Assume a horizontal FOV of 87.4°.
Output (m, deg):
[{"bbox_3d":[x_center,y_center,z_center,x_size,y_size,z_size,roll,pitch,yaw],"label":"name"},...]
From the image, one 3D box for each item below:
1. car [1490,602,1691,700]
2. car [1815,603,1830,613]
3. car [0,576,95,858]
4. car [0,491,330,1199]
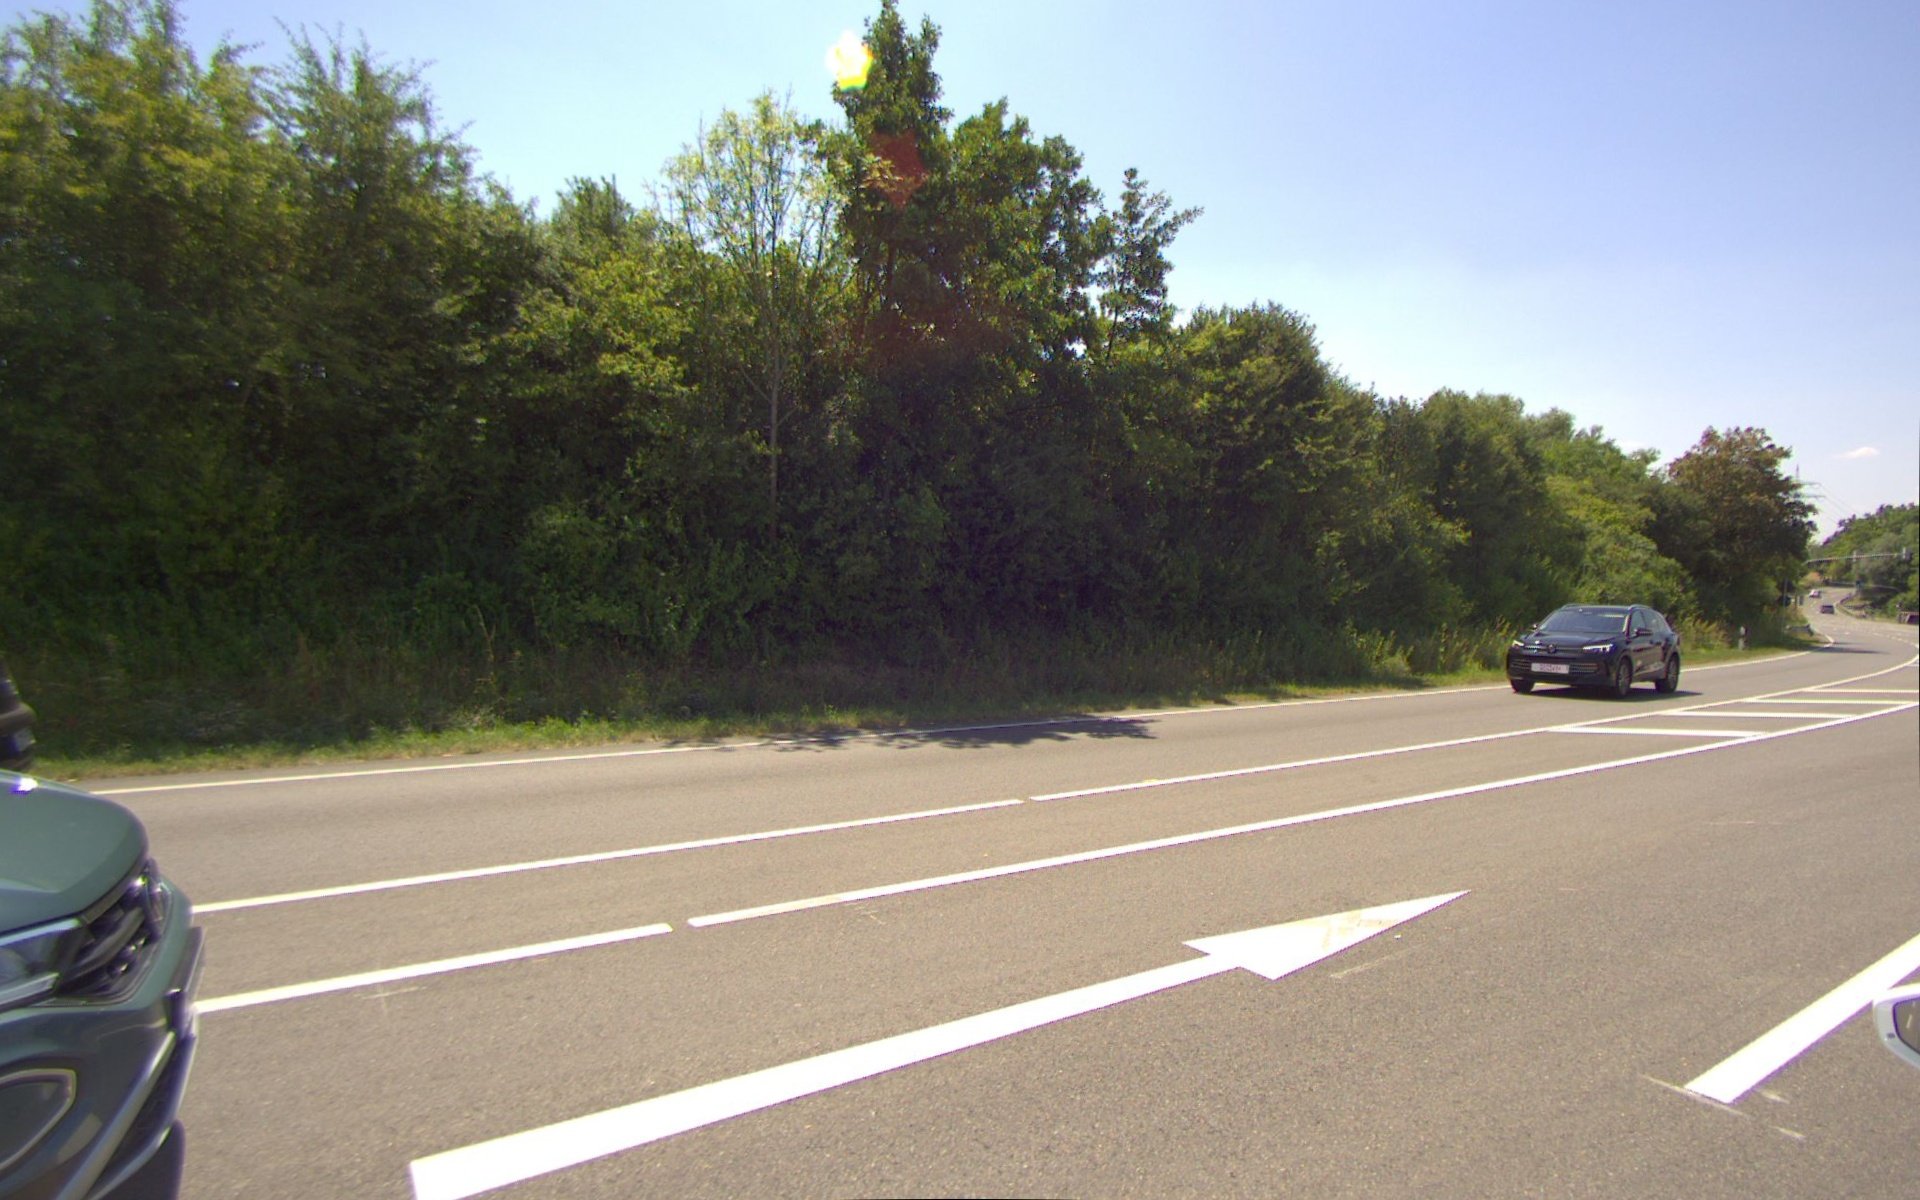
[{"bbox_3d":[12.095,0.892,19.149,4.645,1.614,1.976,1,0,-41],"label":"car"},{"bbox_3d":[161.198,1.480,187.807,1.972,1.706,3.977,2,1,43],"label":"car"},{"bbox_3d":[-7.147,0.560,4.656,4.600,1.461,1.804,1,0,-37],"label":"car"},{"bbox_3d":[-3.496,0.595,1.441,4.342,1.608,1.825,1,0,-32],"label":"car"}]
